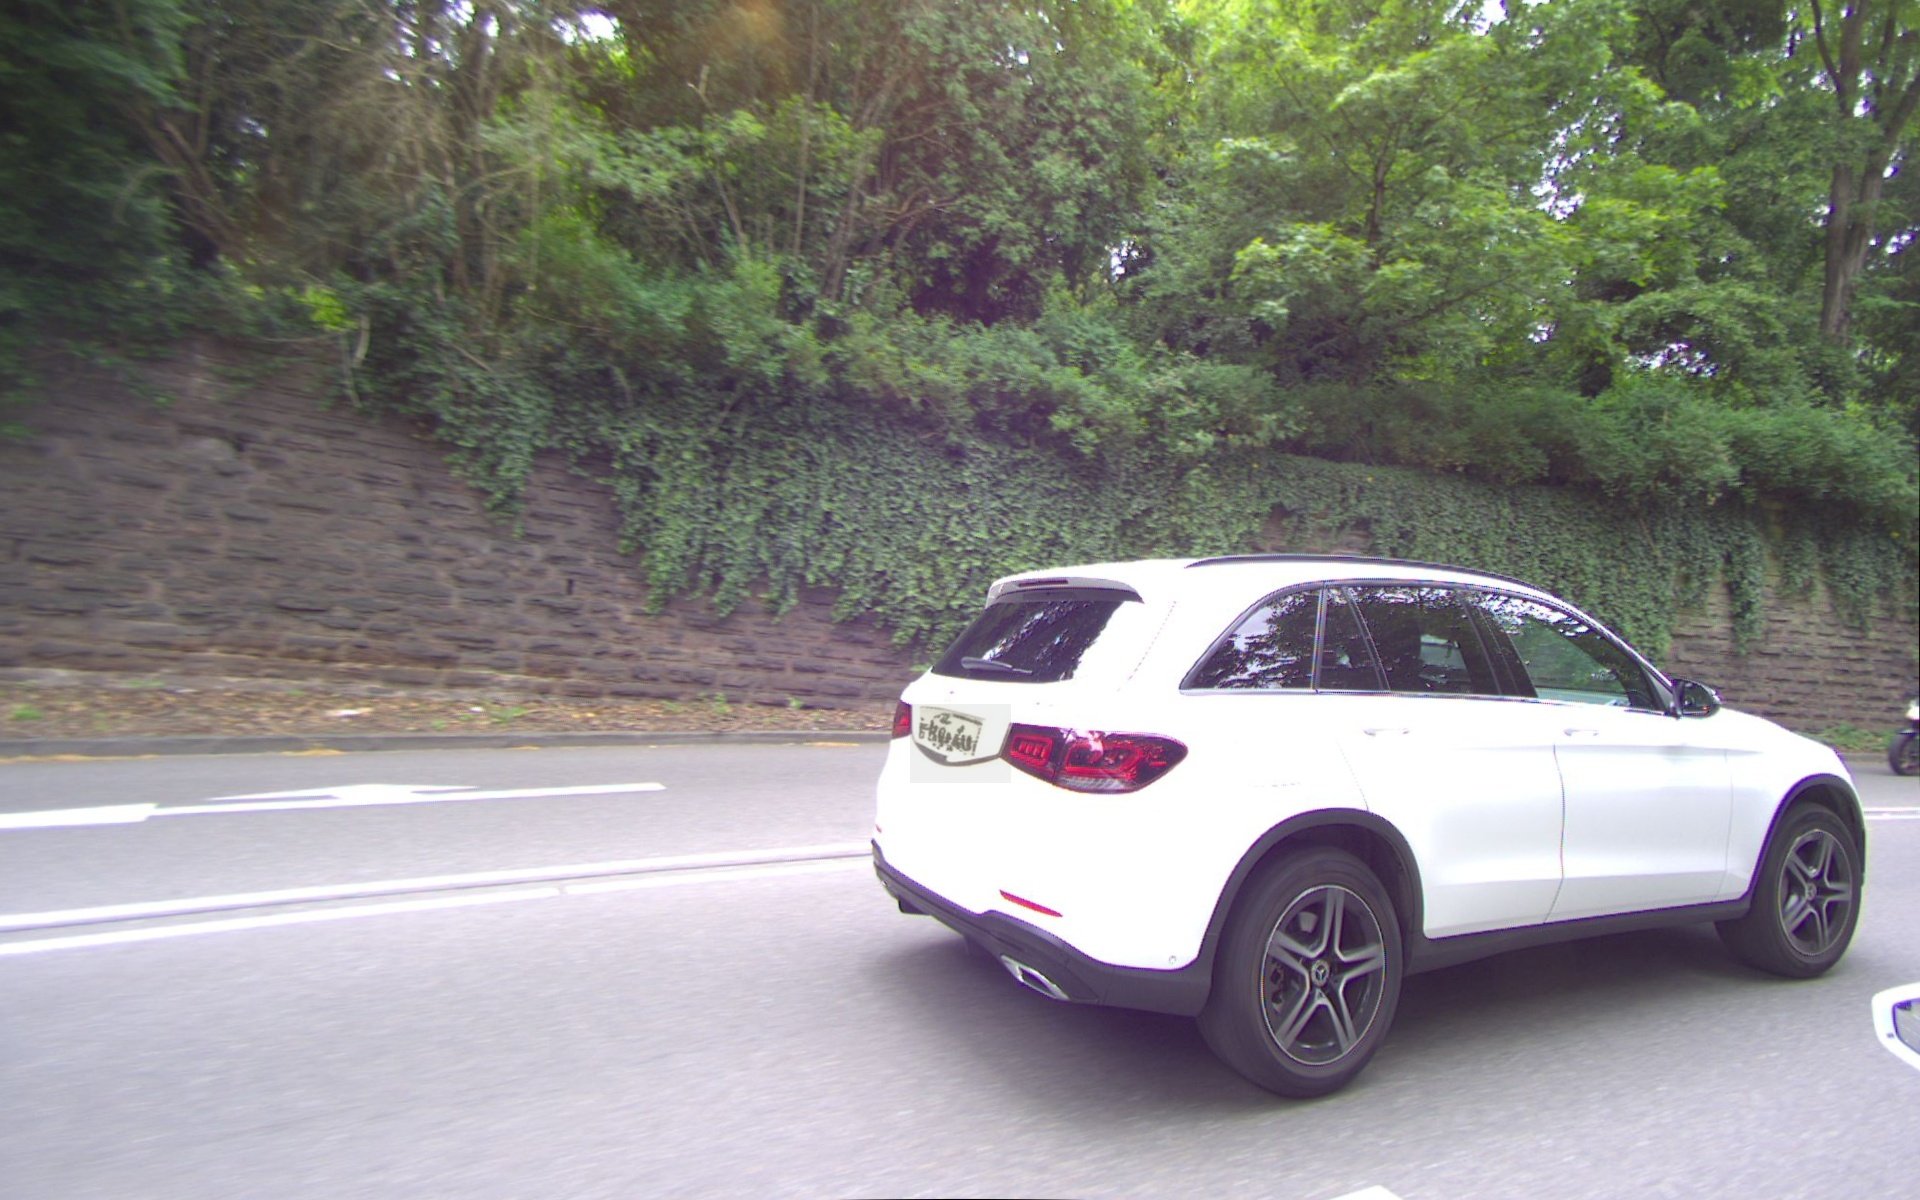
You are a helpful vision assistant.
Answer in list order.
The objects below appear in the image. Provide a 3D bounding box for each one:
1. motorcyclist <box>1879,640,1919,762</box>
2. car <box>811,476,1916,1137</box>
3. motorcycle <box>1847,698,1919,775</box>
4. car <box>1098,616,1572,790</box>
[{"bbox_3d":[12.688,1.308,12.955,1.076,1.549,0.747,3,-3,-13],"label":"motorcyclist"},{"bbox_3d":[1.877,0.624,4.359,4.611,1.627,1.852,3,-1,-27],"label":"car"},{"bbox_3d":[12.818,1.768,12.975,2.387,0.901,0.809,3,-3,-13],"label":"motorcycle"},{"bbox_3d":[3.670,0.988,9.866,4.265,1.434,1.744,3,-3,-21],"label":"car"}]
